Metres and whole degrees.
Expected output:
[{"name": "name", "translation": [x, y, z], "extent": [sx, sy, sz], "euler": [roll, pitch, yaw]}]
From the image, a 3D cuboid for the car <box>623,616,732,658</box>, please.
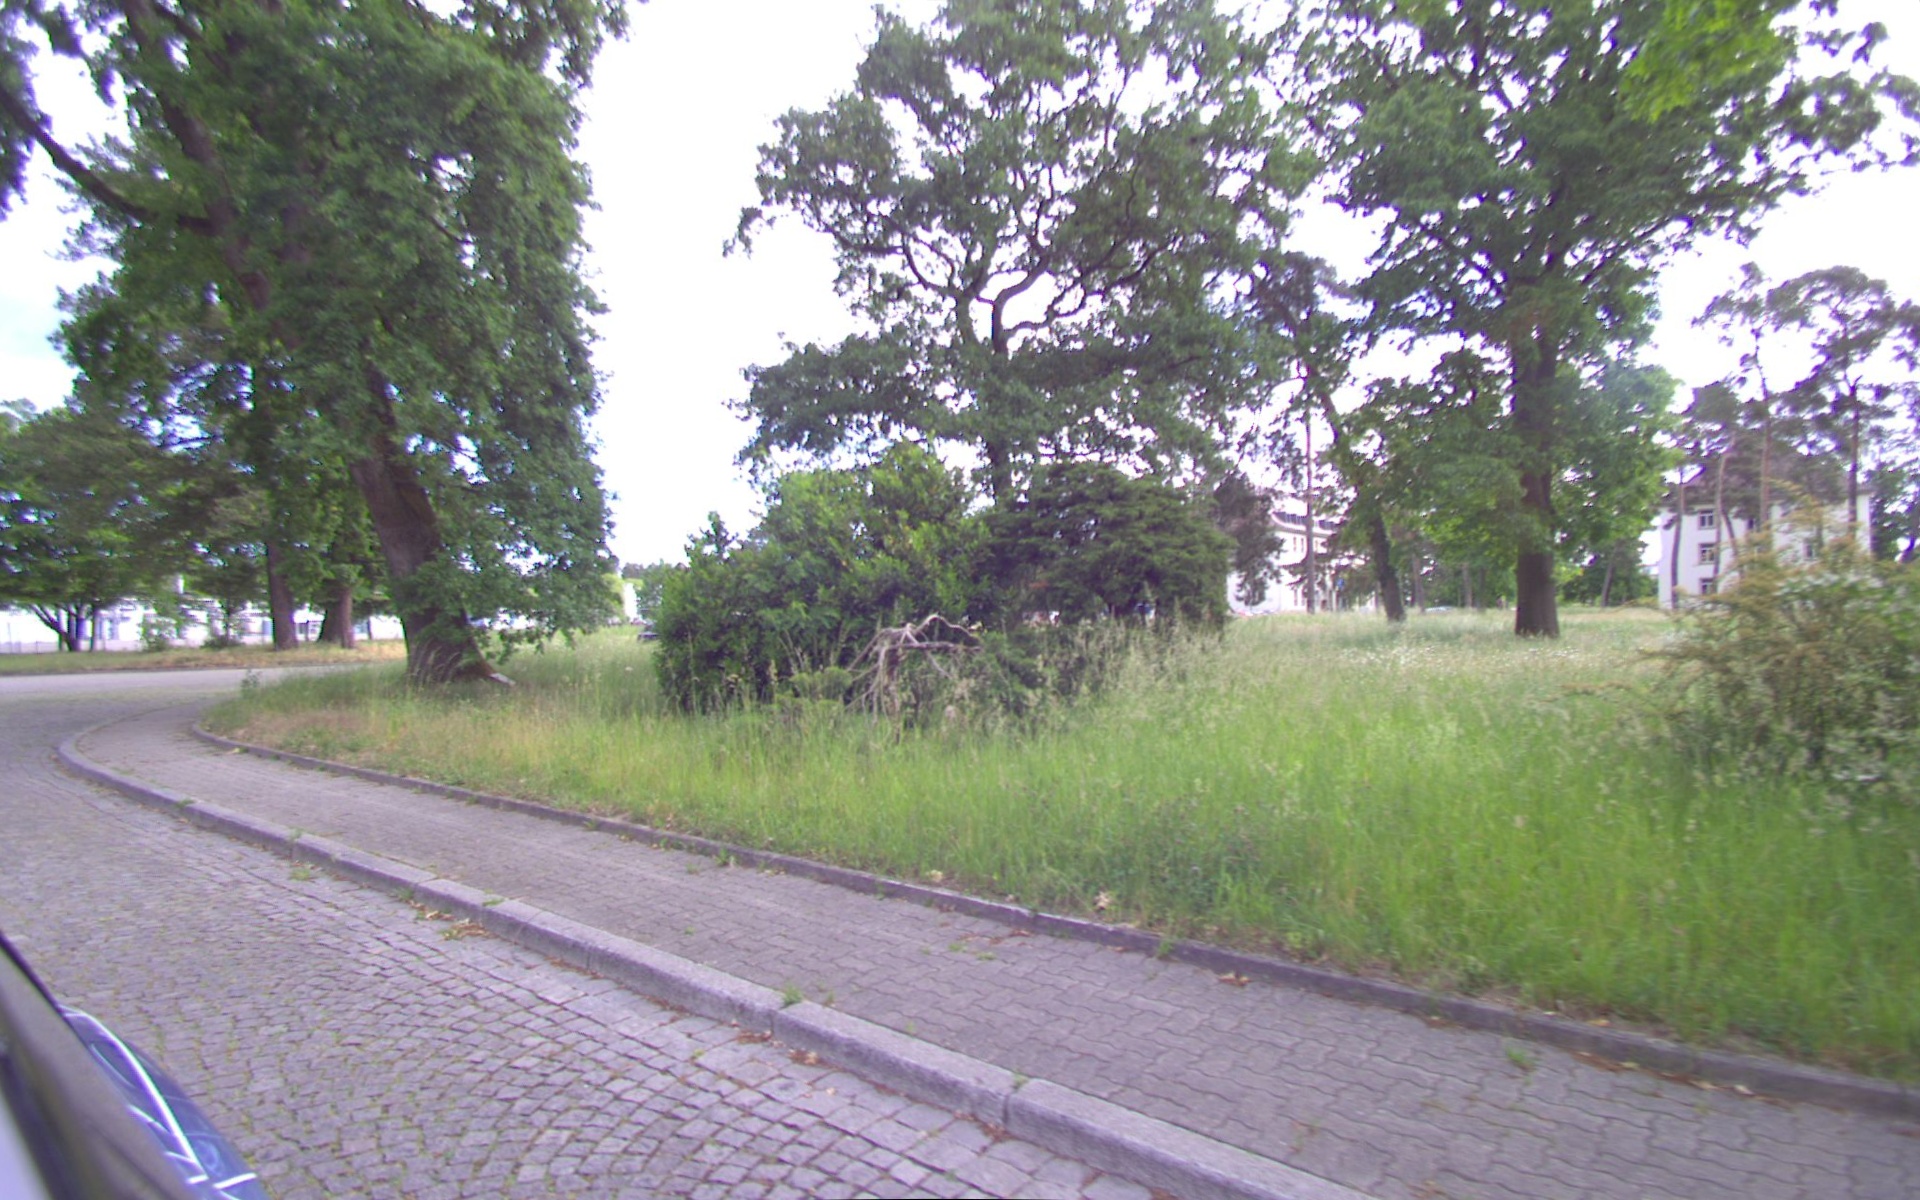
[{"name": "car", "translation": [-10.458, 1.395, 37.328], "extent": [4.352, 1.415, 1.740], "euler": [-3, -2, 41]}]
